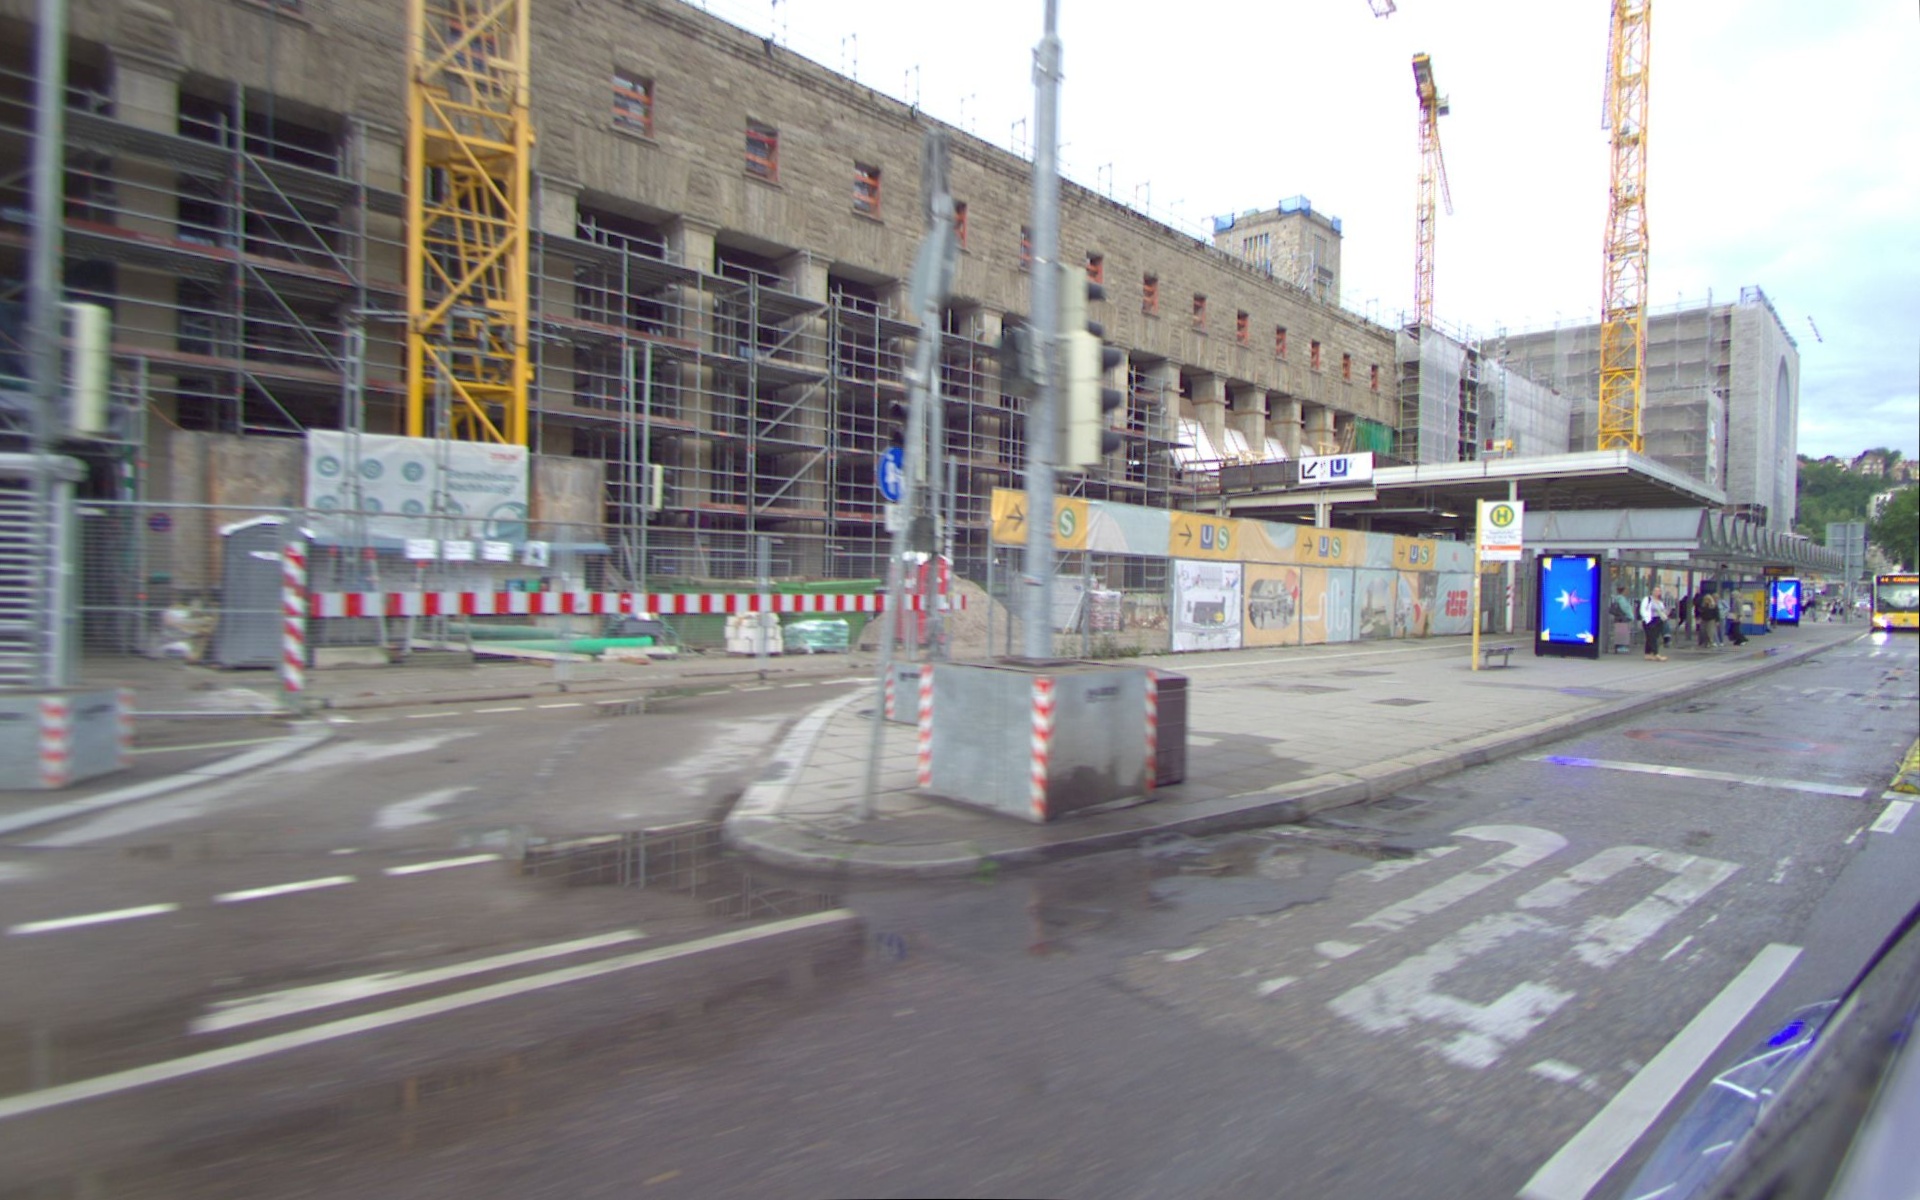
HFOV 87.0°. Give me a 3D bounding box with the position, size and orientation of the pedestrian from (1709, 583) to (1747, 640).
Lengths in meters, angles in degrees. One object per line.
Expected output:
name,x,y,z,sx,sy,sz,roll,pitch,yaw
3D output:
pedestrian,23.180,0.340,30.551,0.791,1.681,0.808,1,0,-45

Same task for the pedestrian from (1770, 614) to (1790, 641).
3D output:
pedestrian,39.150,1.305,48.323,0.655,1.201,0.665,1,1,-45

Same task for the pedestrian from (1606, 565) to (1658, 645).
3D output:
pedestrian,17.910,0.128,27.003,0.790,2.076,0.925,1,0,5

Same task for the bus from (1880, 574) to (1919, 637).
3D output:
bus,50.412,0.248,53.174,2.756,3.104,8.848,1,1,44

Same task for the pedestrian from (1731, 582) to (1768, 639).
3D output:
pedestrian,24.307,0.321,31.169,0.763,1.714,0.808,3,1,45

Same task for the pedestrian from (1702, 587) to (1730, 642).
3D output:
pedestrian,22.236,0.415,29.748,0.521,1.585,0.717,3,1,45

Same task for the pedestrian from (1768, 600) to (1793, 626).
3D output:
pedestrian,35.354,0.548,43.620,0.795,1.078,0.728,1,1,-45

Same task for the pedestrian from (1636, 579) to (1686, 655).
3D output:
pedestrian,16.042,0.378,23.174,0.694,1.700,0.719,2,1,19

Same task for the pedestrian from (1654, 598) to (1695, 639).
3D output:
pedestrian,22.253,0.580,31.533,0.827,1.246,0.914,1,-1,-44

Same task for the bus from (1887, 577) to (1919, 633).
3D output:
bus,56.622,0.259,59.567,2.756,3.107,8.934,1,1,44
